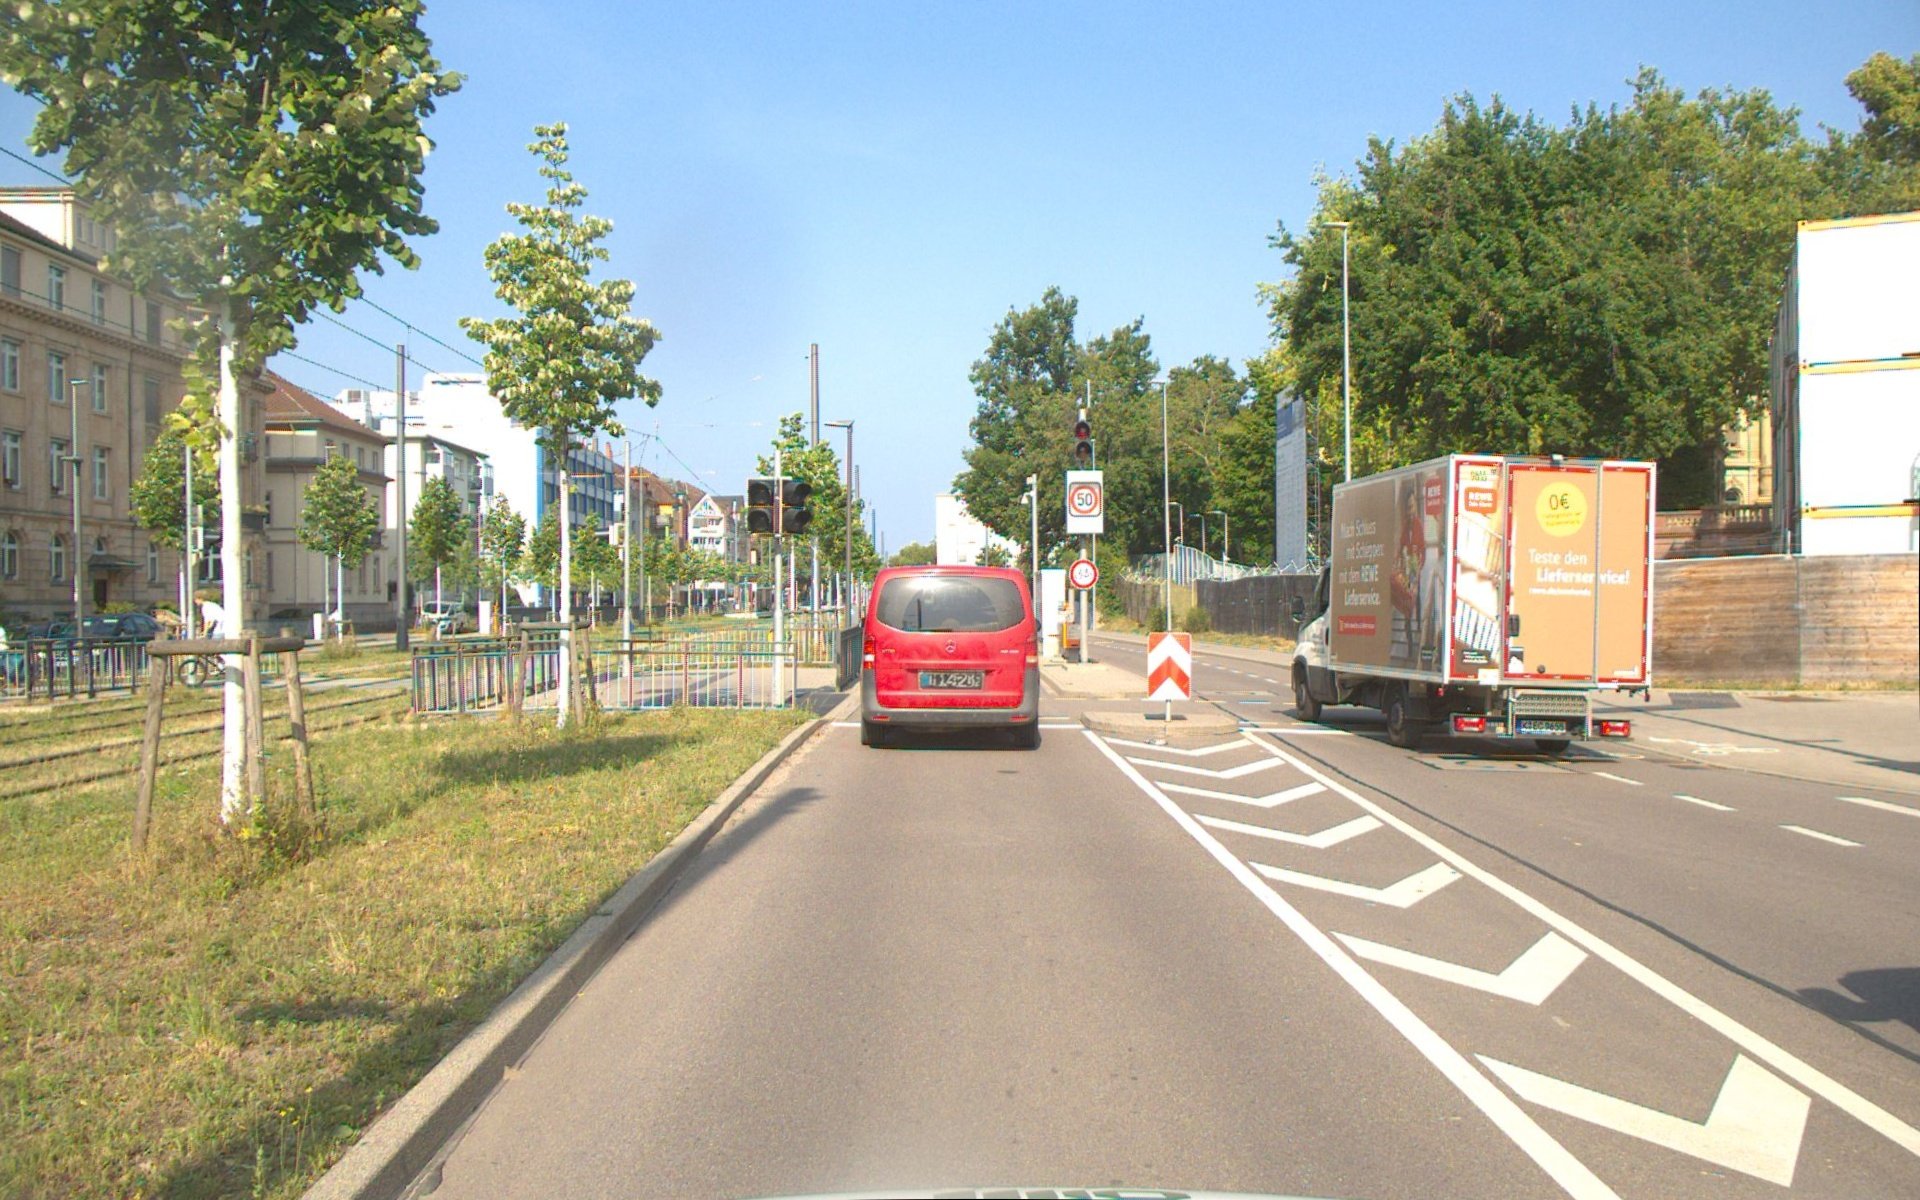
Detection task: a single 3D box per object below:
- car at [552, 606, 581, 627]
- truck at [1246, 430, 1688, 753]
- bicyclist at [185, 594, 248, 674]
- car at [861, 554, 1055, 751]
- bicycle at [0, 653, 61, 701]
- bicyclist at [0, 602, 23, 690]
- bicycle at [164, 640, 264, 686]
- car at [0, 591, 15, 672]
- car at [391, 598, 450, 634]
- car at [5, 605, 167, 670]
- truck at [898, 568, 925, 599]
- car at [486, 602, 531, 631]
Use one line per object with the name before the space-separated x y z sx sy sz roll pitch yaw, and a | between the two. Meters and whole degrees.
car | -30.334 1.236 127.599 1.488 1.489 3.822 -1 1 -3
truck | 5.689 -0.037 20.193 2.453 3.114 7.813 2 -1 -4
bicyclist | -13.827 0.629 30.770 0.672 1.466 0.805 1 -1 27
car | -0.038 0.522 18.212 1.862 1.892 3.999 1 0 -1
bicycle | -16.950 1.364 29.102 1.975 0.807 0.623 -1 0 -30
bicyclist | -17.038 0.811 29.051 0.972 1.526 0.614 -1 0 -29
bicycle | -13.852 1.159 30.758 0.704 0.812 1.602 1 -1 26
car | -25.324 0.805 40.173 1.954 2.049 5.299 0 0 -3
car | -34.008 1.034 104.379 2.205 2.049 5.259 2 -2 -3
car | -22.085 0.918 42.005 1.954 1.539 4.395 0 0 -3
truck | -6.202 -2.026 211.496 3.323 3.791 10.446 -1 0 -2
car | -29.844 1.080 109.479 1.879 1.844 3.999 2 -1 -1
